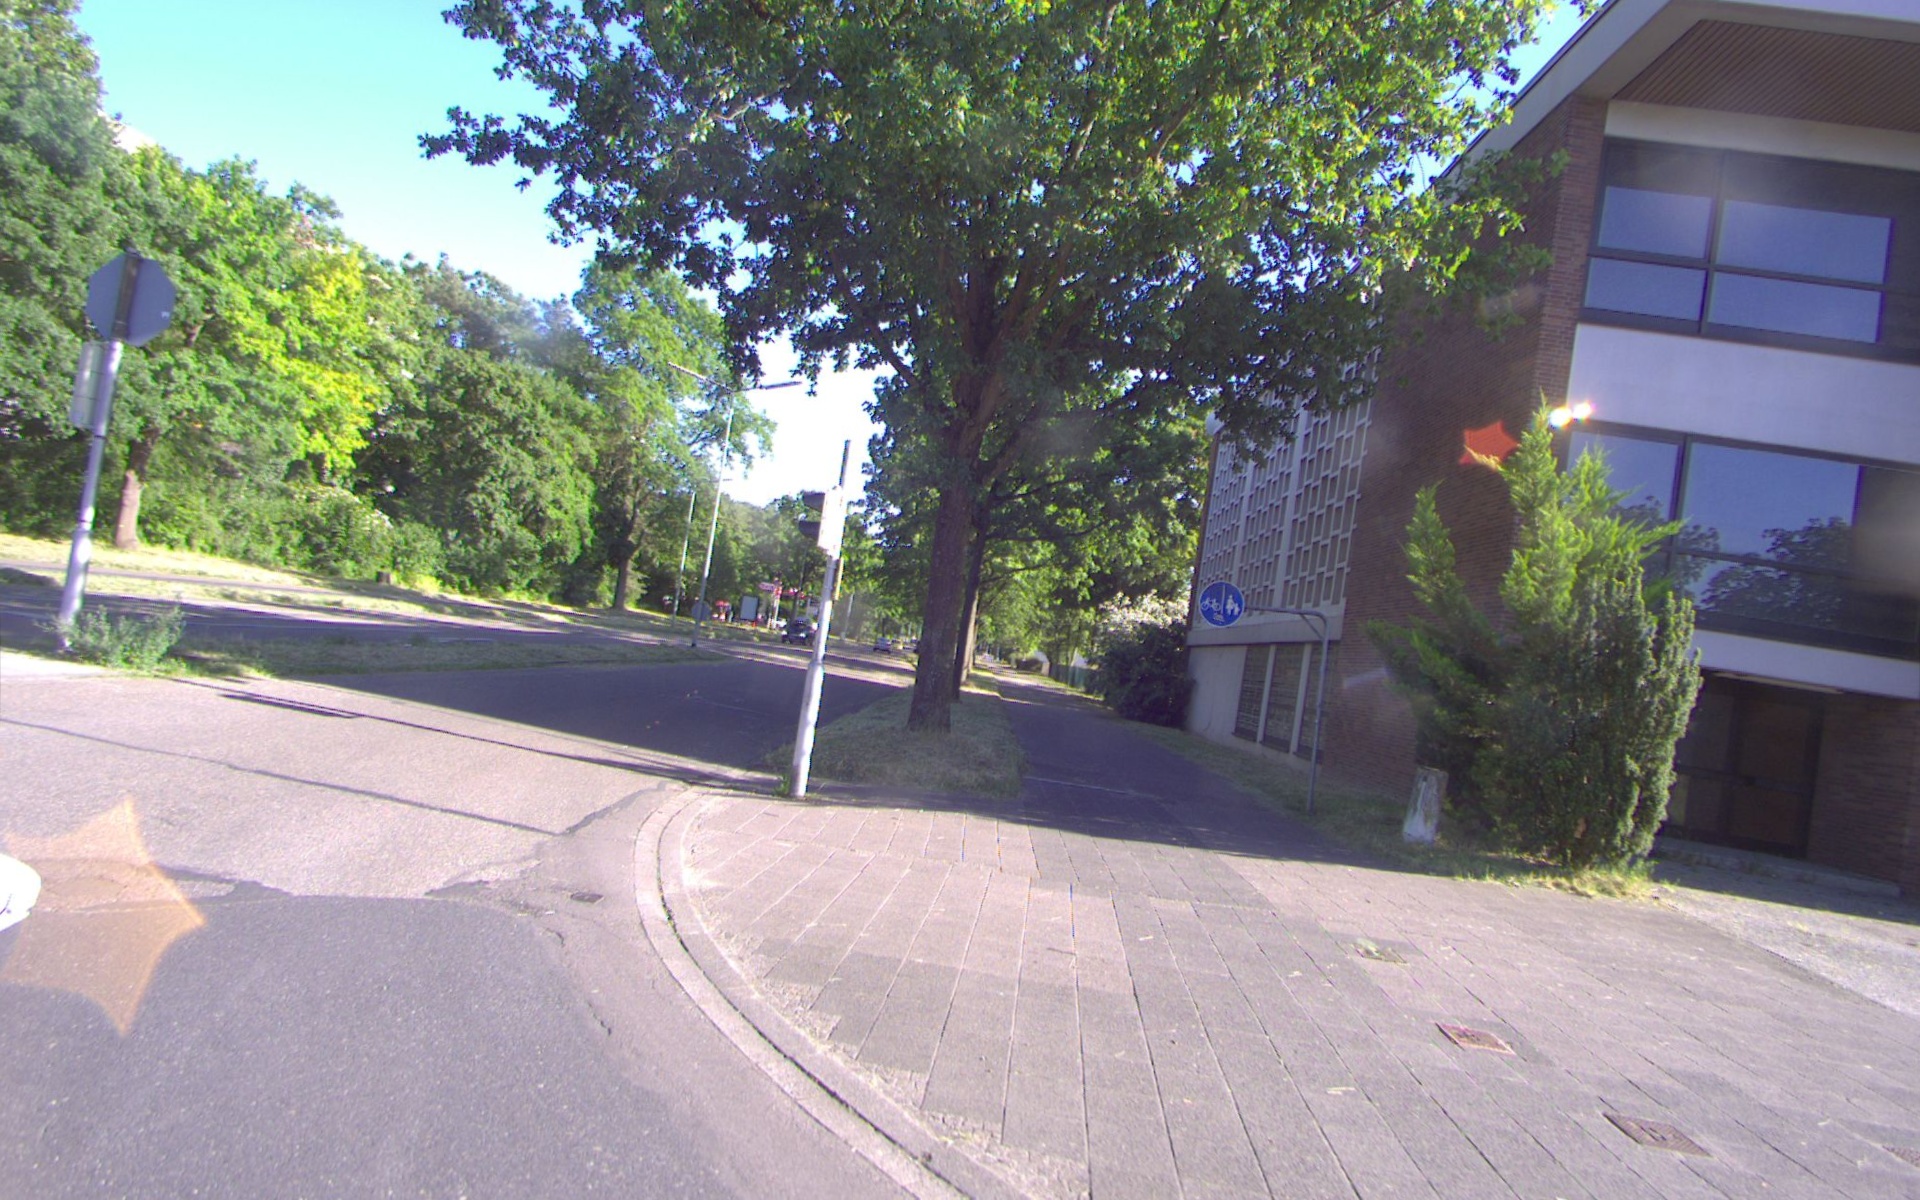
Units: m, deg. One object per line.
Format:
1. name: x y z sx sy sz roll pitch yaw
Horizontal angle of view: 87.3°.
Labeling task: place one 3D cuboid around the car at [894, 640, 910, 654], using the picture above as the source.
1. car: -7.053 5.730 122.403 1.636 1.350 3.670 9 -4 -1

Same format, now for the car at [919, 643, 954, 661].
1. car: -2.555 5.650 109.988 3.599 1.413 1.319 9 -3 -1

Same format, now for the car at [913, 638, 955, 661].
1. car: -2.885 5.570 112.959 4.436 1.973 1.690 9 -3 -1

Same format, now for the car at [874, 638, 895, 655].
1. car: -7.323 4.523 97.988 1.636 1.350 3.670 9 -4 -1

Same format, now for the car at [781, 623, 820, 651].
1. car: -11.886 2.811 75.190 1.811 1.727 4.510 8 -3 2

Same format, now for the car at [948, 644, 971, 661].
1. car: -0.071 8.446 162.613 3.514 2.069 1.637 9 -6 -1
